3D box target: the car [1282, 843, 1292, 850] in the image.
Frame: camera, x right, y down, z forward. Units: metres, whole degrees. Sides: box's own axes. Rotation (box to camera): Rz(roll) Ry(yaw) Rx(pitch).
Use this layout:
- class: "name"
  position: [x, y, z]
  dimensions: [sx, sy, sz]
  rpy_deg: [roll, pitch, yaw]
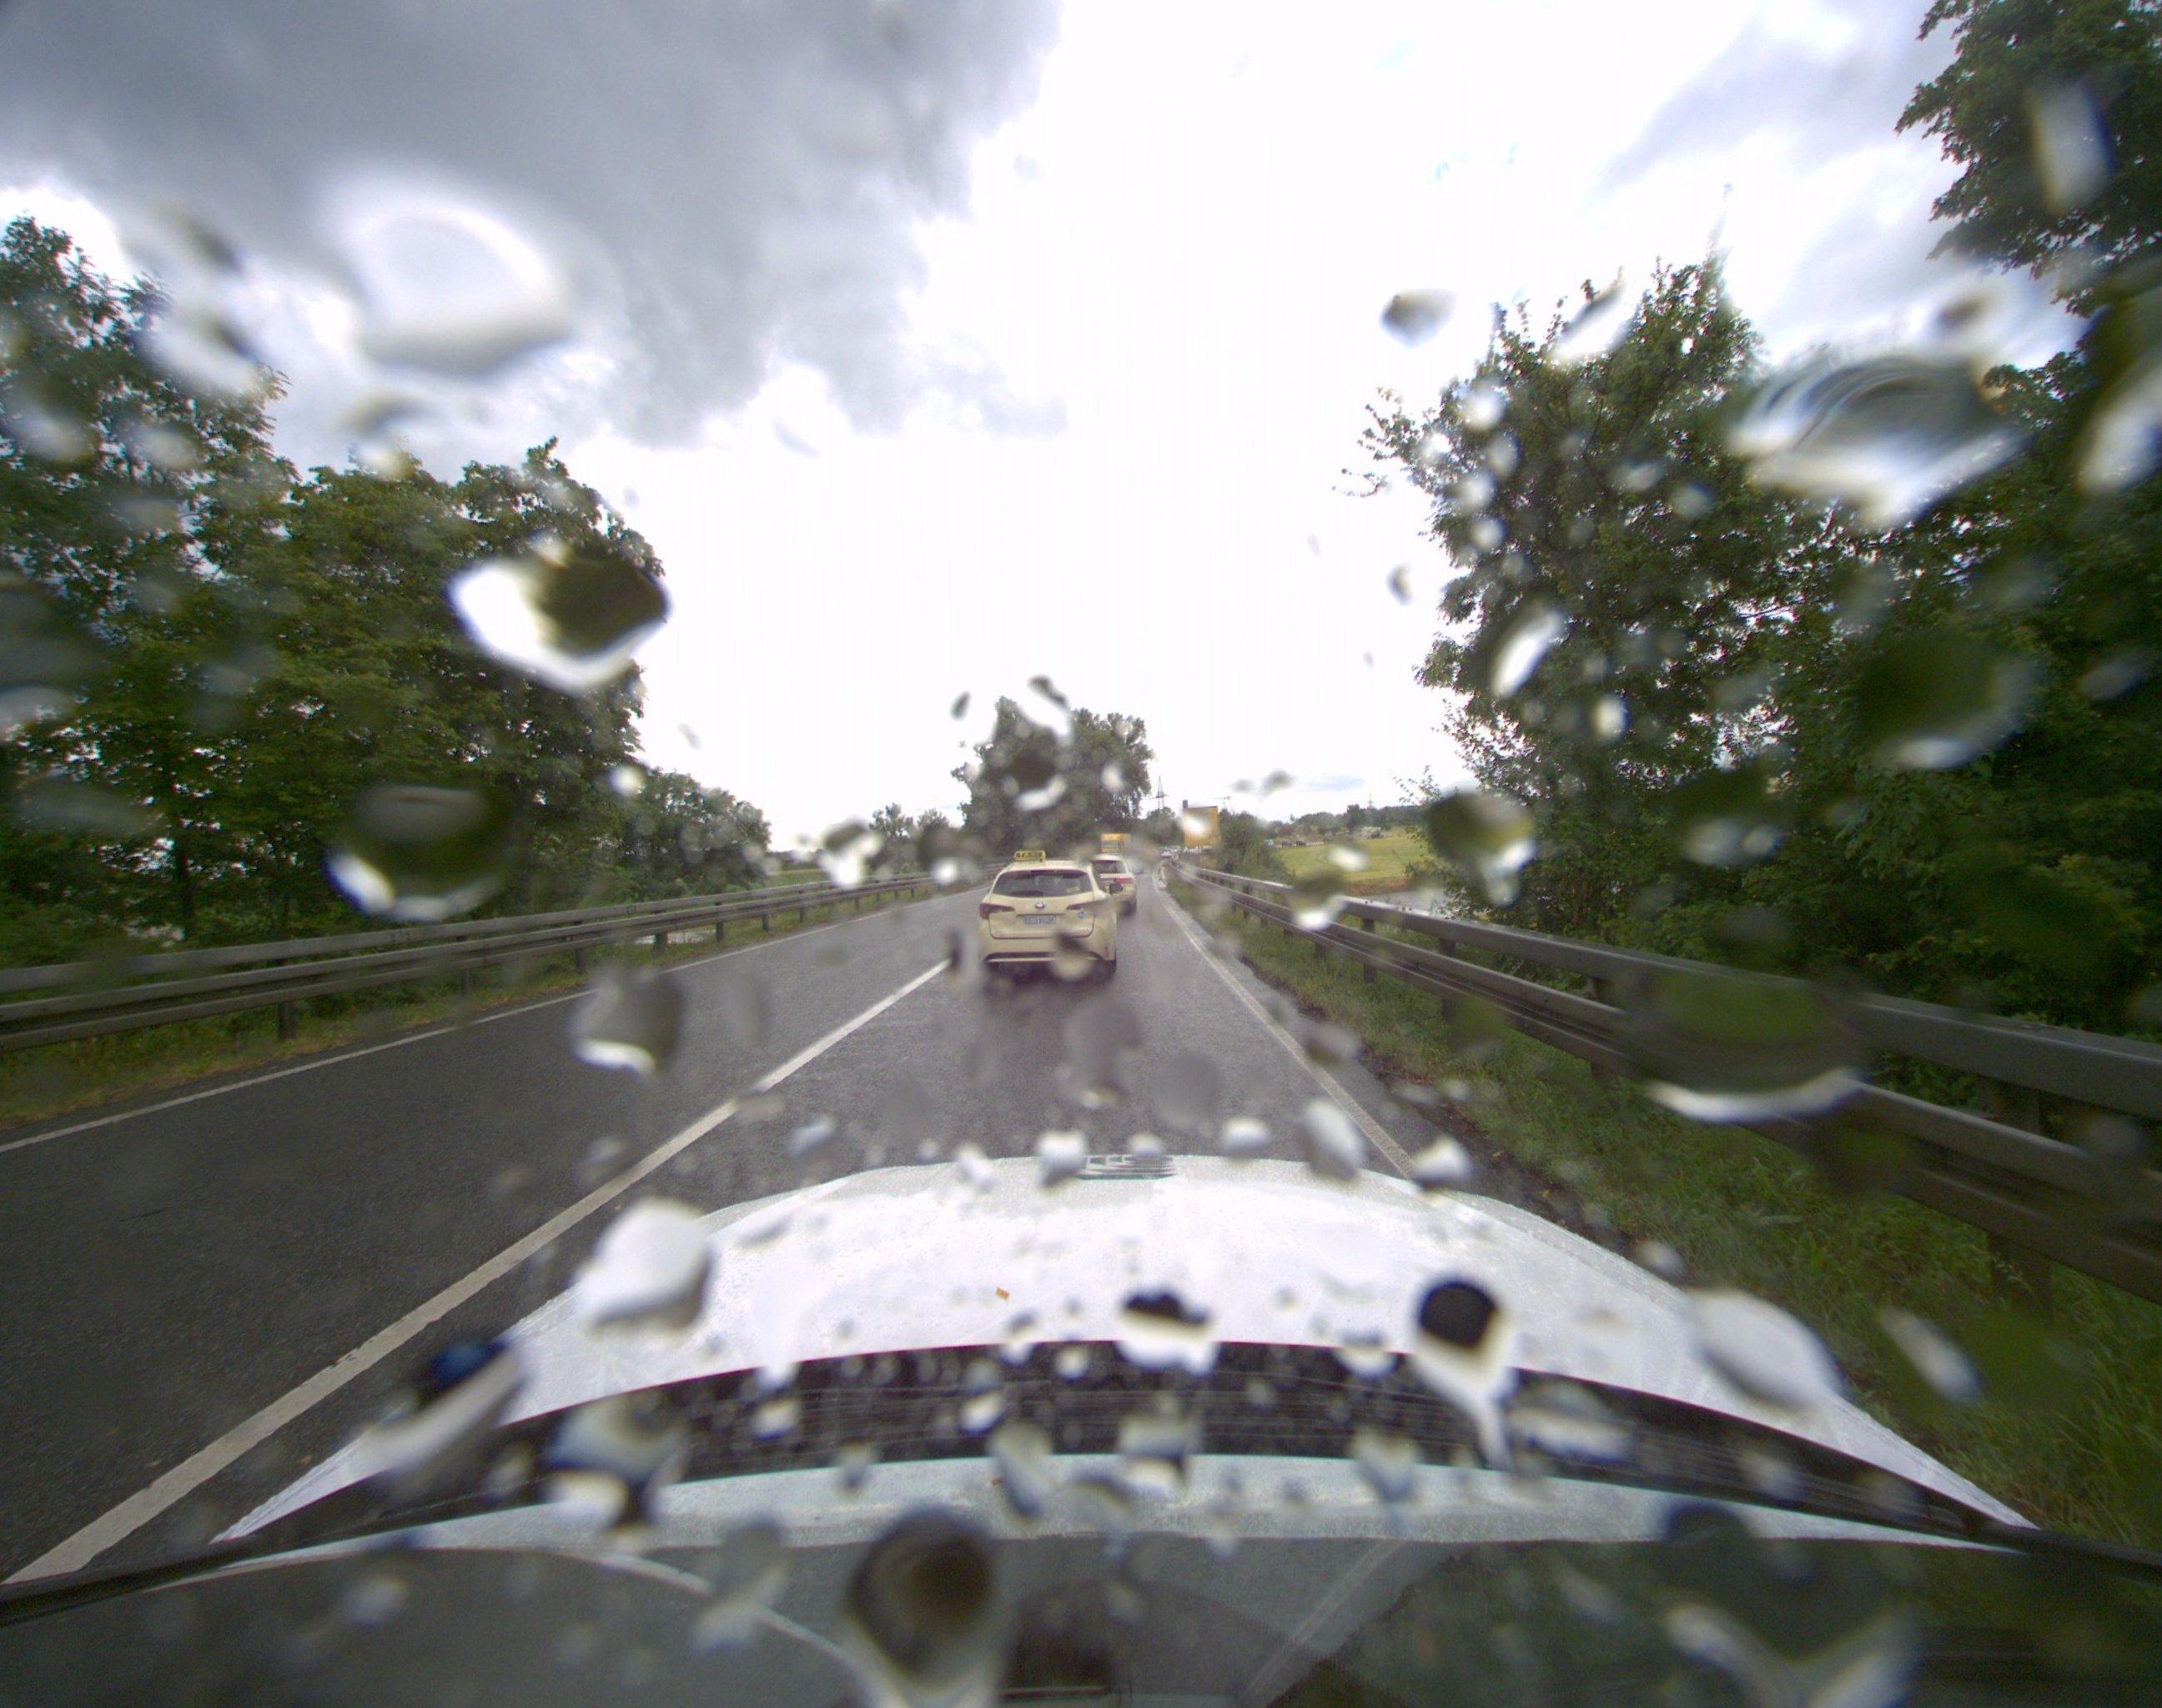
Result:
- class: "car"
  position: [56.452, -2.078, 223.000]
  dimensions: [1.801, 1.838, 4.013]
  rpy_deg: [-1, -1, 29]

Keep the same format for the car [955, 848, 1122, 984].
- class: "car"
  position: [-0.421, 0.723, 11.485]
  dimensions: [1.899, 1.537, 4.163]
  rpy_deg: [-1, 0, 2]

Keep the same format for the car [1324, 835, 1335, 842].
- class: "car"
  position: [76.317, -4.688, 250.251]
  dimensions: [2.120, 2.014, 4.025]
  rpy_deg: [-1, -1, 37]

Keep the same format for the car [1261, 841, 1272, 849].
- class: "car"
  position: [47.381, -2.349, 207.977]
  dimensions: [1.903, 1.838, 4.021]
  rpy_deg: [-1, -1, 22]

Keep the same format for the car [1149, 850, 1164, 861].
- class: "car"
  position: [8.900, 0.190, 96.151]
  dimensions: [1.473, 1.309, 3.486]
  rpy_deg: [-1, 0, 10]

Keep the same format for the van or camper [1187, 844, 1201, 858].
- class: "van or camper"
  position: [19.344, -0.513, 139.814]
  dimensions: [1.980, 2.254, 4.014]
  rpy_deg: [-1, -1, 13]

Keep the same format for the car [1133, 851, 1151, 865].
- class: "car"
  position: [6.075, 0.420, 81.021]
  dimensions: [1.652, 1.409, 3.910]
  rpy_deg: [-1, -1, 6]

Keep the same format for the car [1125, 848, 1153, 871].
- class: "car"
  position: [3.775, 0.342, 53.714]
  dimensions: [1.659, 1.464, 3.477]
  rpy_deg: [-1, 0, 1]

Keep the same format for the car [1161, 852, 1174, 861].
- class: "car"
  position: [12.043, 0.352, 113.573]
  dimensions: [1.473, 1.309, 3.486]
  rpy_deg: [-1, 0, 10]

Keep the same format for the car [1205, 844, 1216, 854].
- class: "car"
  position: [25.274, -0.975, 158.747]
  dimensions: [1.720, 1.819, 4.013]
  rpy_deg: [-1, -1, 12]

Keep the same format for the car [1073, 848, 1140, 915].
- class: "car"
  position: [0.697, 0.667, 21.343]
  dimensions: [1.572, 1.572, 3.684]
  rpy_deg: [-1, 0, 3]

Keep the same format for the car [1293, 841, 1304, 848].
- class: "car"
  position: [61.953, -2.707, 232.141]
  dimensions: [1.974, 2.014, 4.025]
  rpy_deg: [-1, -1, 33]

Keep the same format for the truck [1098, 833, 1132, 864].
- class: "truck"
  position: [4.020, -0.757, 94.248]
  dimensions: [2.754, 3.428, 9.212]
  rpy_deg: [1, 2, 9]

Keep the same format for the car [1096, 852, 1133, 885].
- class: "car"
  position: [1.549, 0.645, 37.152]
  dimensions: [1.498, 1.437, 3.360]
  rpy_deg: [-1, 0, 5]
